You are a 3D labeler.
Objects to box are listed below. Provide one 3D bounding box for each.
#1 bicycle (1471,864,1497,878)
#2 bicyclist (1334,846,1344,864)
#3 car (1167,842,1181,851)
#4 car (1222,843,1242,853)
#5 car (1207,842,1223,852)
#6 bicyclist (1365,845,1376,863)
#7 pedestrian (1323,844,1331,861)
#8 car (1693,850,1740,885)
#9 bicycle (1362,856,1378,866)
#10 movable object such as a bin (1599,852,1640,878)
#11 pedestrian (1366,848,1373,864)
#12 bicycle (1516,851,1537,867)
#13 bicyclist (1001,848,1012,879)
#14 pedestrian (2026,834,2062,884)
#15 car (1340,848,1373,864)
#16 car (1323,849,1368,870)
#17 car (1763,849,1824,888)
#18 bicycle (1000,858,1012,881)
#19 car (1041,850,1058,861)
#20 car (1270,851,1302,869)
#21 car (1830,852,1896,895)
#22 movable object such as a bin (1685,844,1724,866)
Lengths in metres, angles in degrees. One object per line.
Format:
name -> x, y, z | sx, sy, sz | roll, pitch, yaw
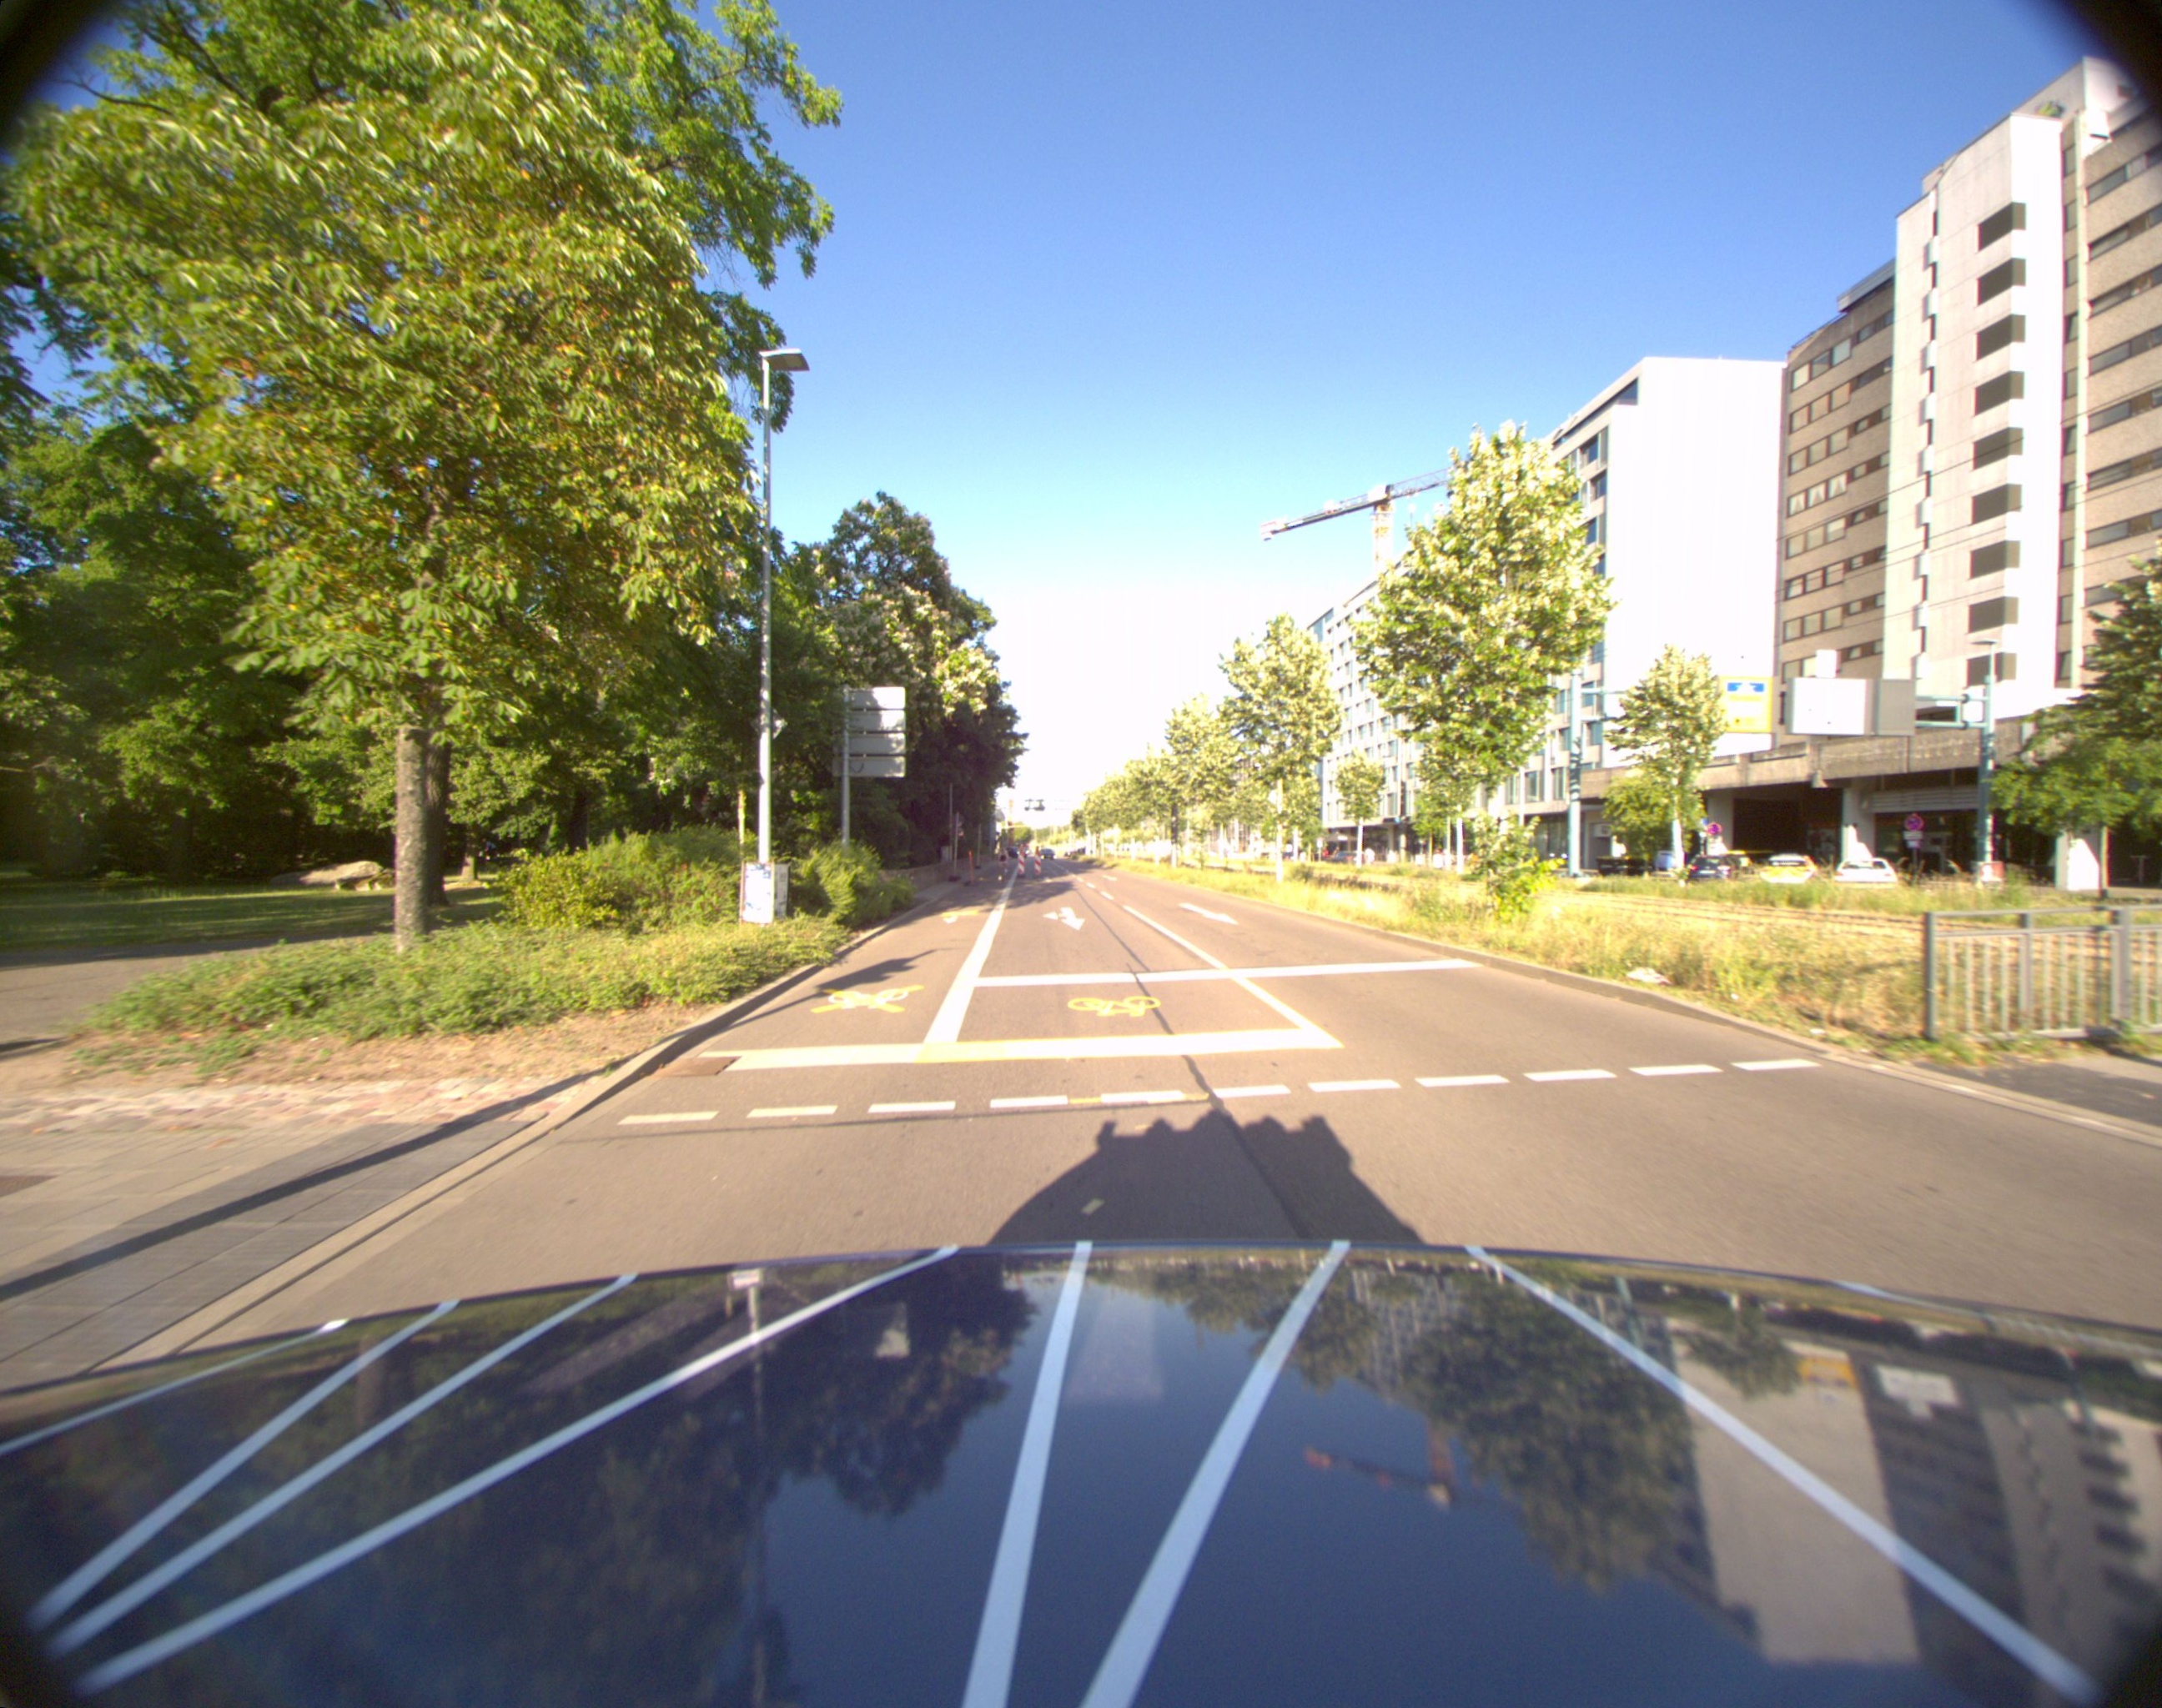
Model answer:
bicycle -> 26.739, 1.097, 50.492 | 0.437, 0.858, 2.101 | 0, 1, -5
bicyclist -> 24.424, 0.072, 71.942 | 0.539, 1.647, 0.918 | 0, 1, -6
car -> 18.053, -1.505, 147.746 | 1.875, 1.742, 3.790 | -2, 1, -4
car -> 20.618, -0.844, 103.932 | 1.614, 1.370, 3.877 | -2, 1, -4
car -> 22.232, -1.183, 126.081 | 1.875, 1.582, 3.480 | -2, 1, -4
bicyclist -> 25.707, -0.011, 67.479 | 0.539, 1.647, 0.918 | 0, 1, -6
pedestrian -> 28.974, -0.187, 89.382 | 0.622, 2.002, 0.725 | 0, 1, -3
car -> 30.478, 0.607, 36.409 | 1.616, 1.436, 4.556 | 0, 2, 41
bicycle -> 25.699, 0.582, 67.524 | 0.437, 0.858, 2.101 | 0, 1, -5
movable object such as a bin -> 29.315, 0.593, 41.390 | 1.390, 1.363, 1.170 | 0, 1, -5
pedestrian -> 29.921, 0.213, 78.856 | 0.479, 1.626, 0.597 | 0, 1, -3
bicycle -> 35.610, 0.388, 60.746 | 0.395, 1.223, 1.718 | 0, 1, -13
bicyclist -> -3.441, 0.415, 35.066 | 0.516, 1.399, 0.805 | 0, 1, -4
pedestrian -> 38.437, 0.189, 30.344 | 0.549, 2.002, 0.654 | 0, 1, -4
car -> 27.299, 0.179, 75.461 | 1.875, 1.458, 3.387 | -2, 1, -4
car -> 22.086, 0.460, 63.525 | 1.875, 1.579, 4.636 | -2, 1, -4
car -> 30.659, 0.582, 32.776 | 1.784, 1.436, 3.809 | 0, 2, 41
bicycle -> -3.451, 0.702, 35.077 | 0.506, 1.018, 1.504 | 0, 1, -4
car -> -3.868, 0.172, 93.866 | 1.998, 1.346, 3.999 | 0, 1, 0
car -> 21.529, 0.619, 79.879 | 1.875, 1.693, 4.485 | -2, 1, -4
car -> 30.924, 0.729, 30.116 | 1.616, 1.436, 3.800 | 0, 2, 43
movable object such as a bin -> 38.185, 0.082, 46.547 | 1.390, 1.326, 1.233 | 0, 1, -5
